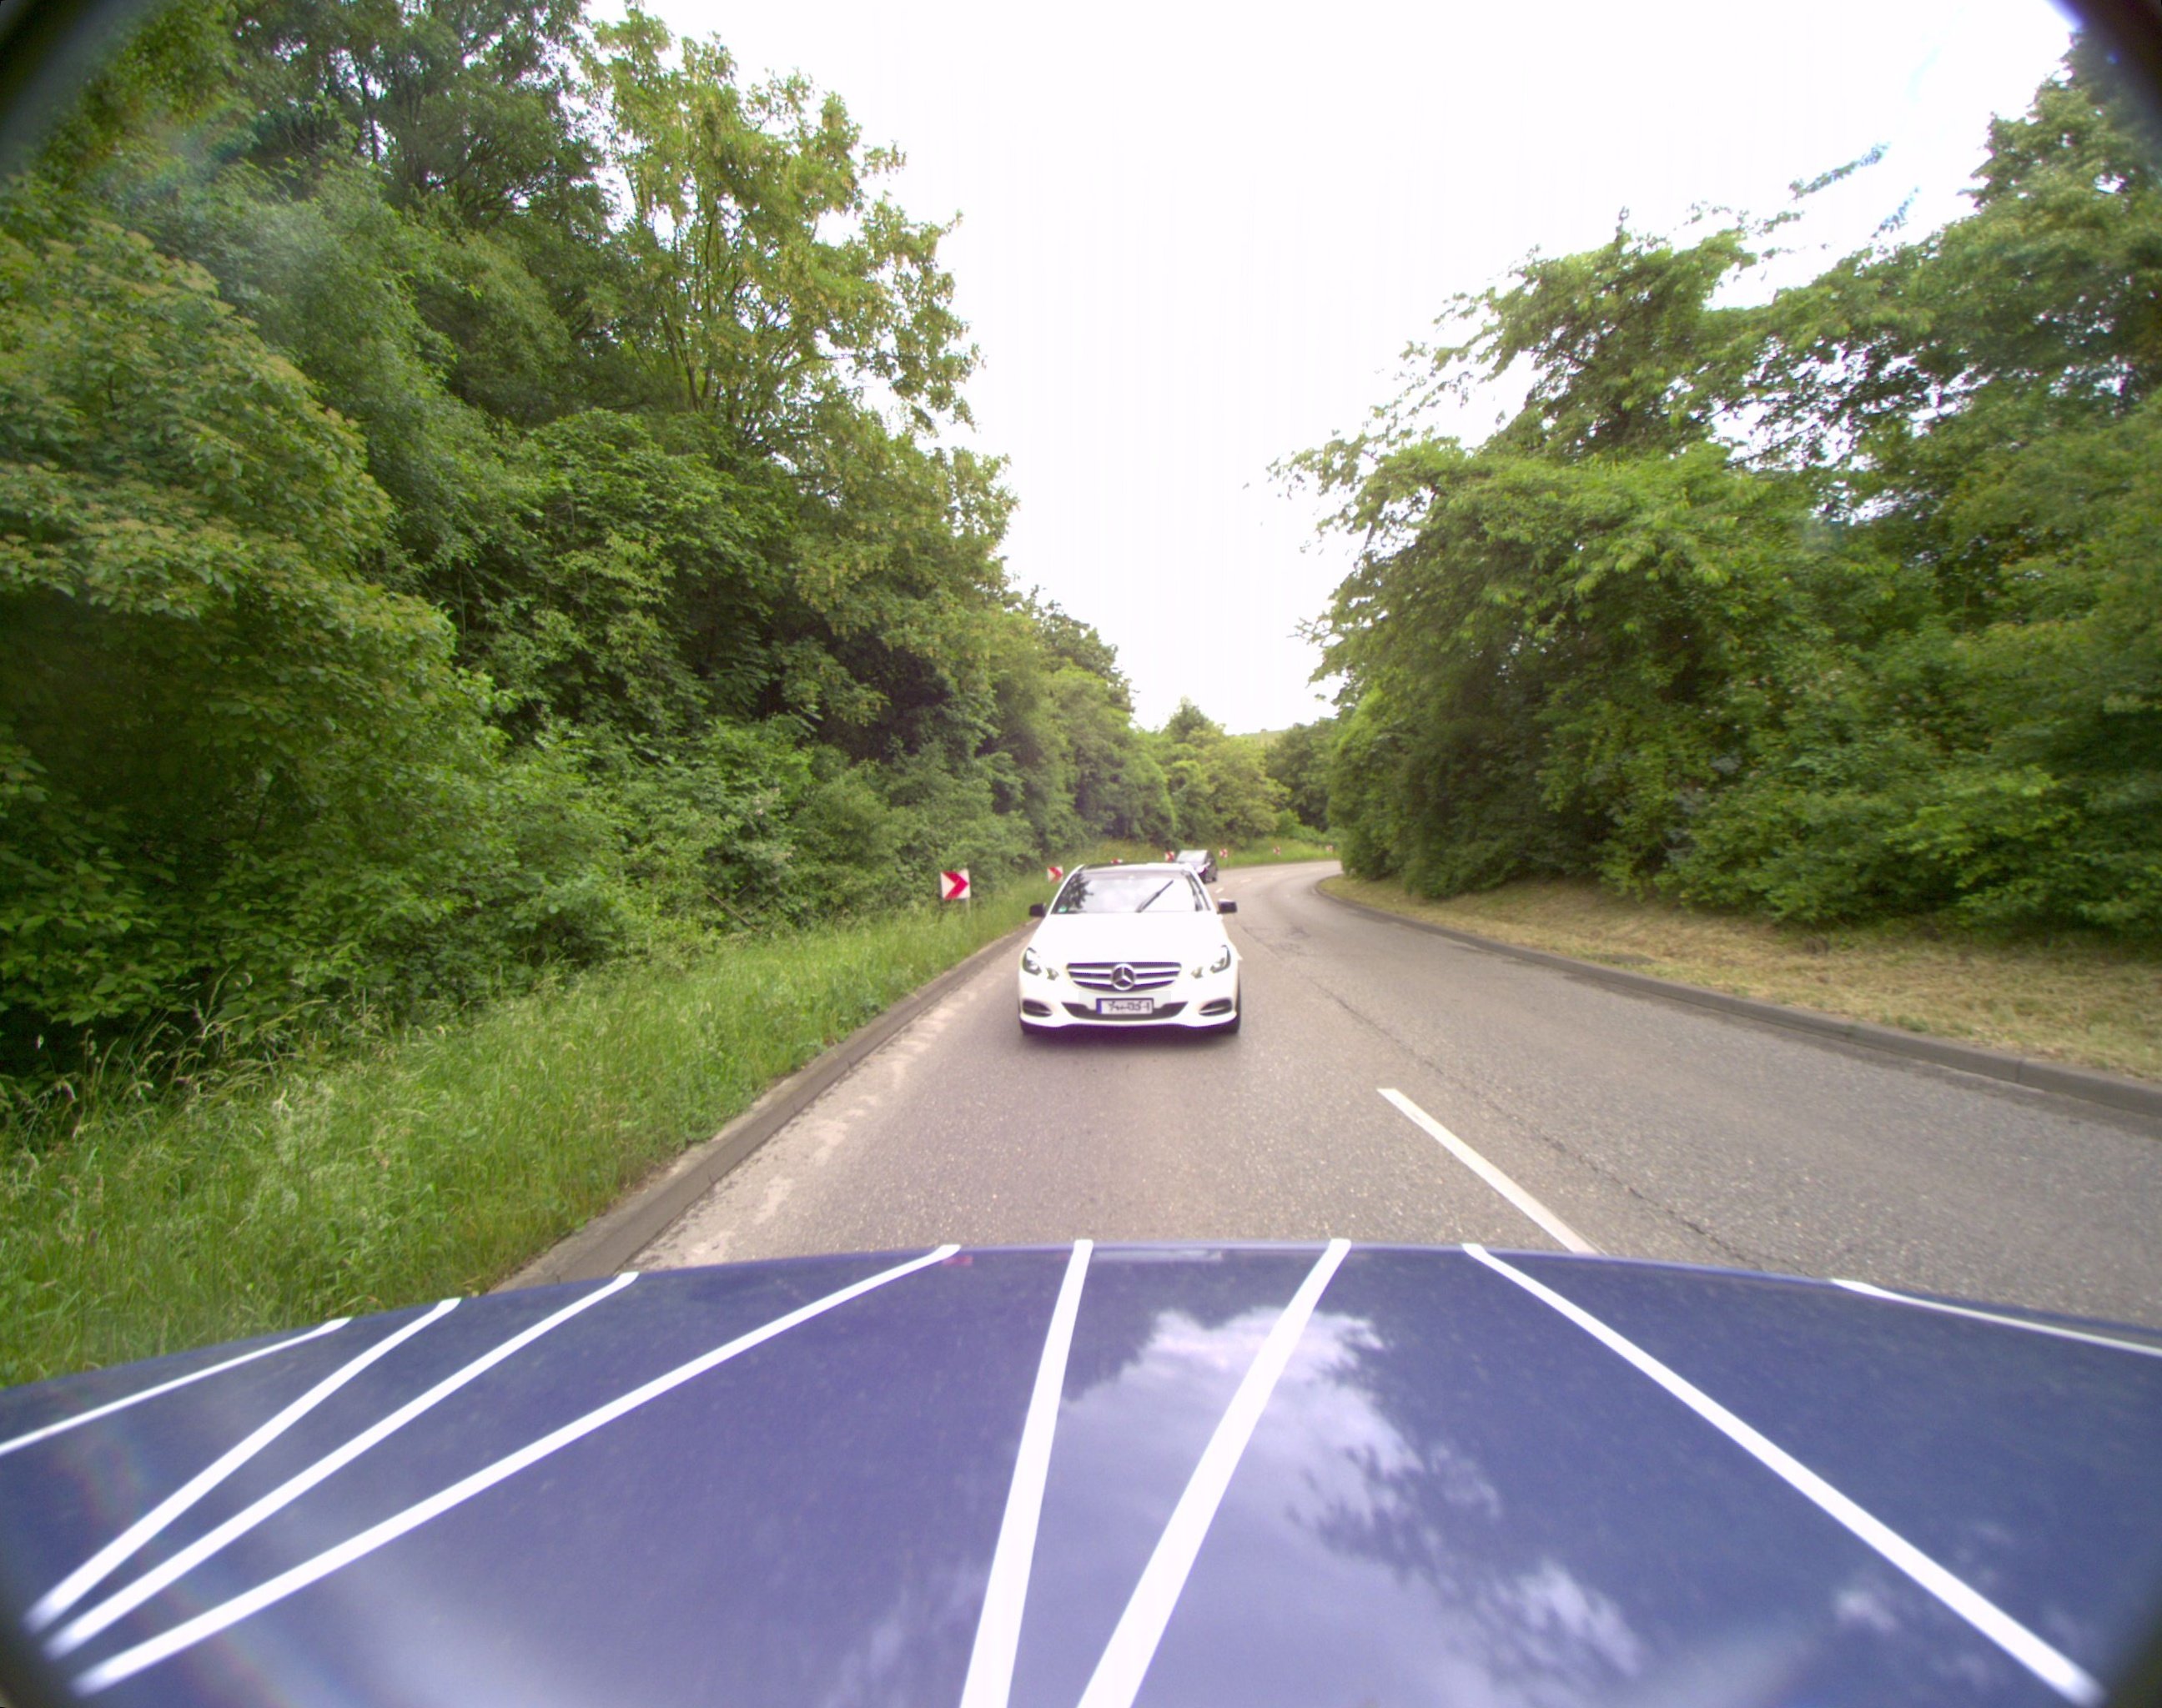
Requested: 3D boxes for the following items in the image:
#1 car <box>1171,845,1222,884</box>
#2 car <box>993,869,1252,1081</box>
[{"bbox_3d":[5.458,0.430,35.496,1.550,1.635,3.745,2,2,21],"label":"car"},{"bbox_3d":[0.483,0.946,7.751,1.866,1.423,4.357,-1,0,5],"label":"car"}]
